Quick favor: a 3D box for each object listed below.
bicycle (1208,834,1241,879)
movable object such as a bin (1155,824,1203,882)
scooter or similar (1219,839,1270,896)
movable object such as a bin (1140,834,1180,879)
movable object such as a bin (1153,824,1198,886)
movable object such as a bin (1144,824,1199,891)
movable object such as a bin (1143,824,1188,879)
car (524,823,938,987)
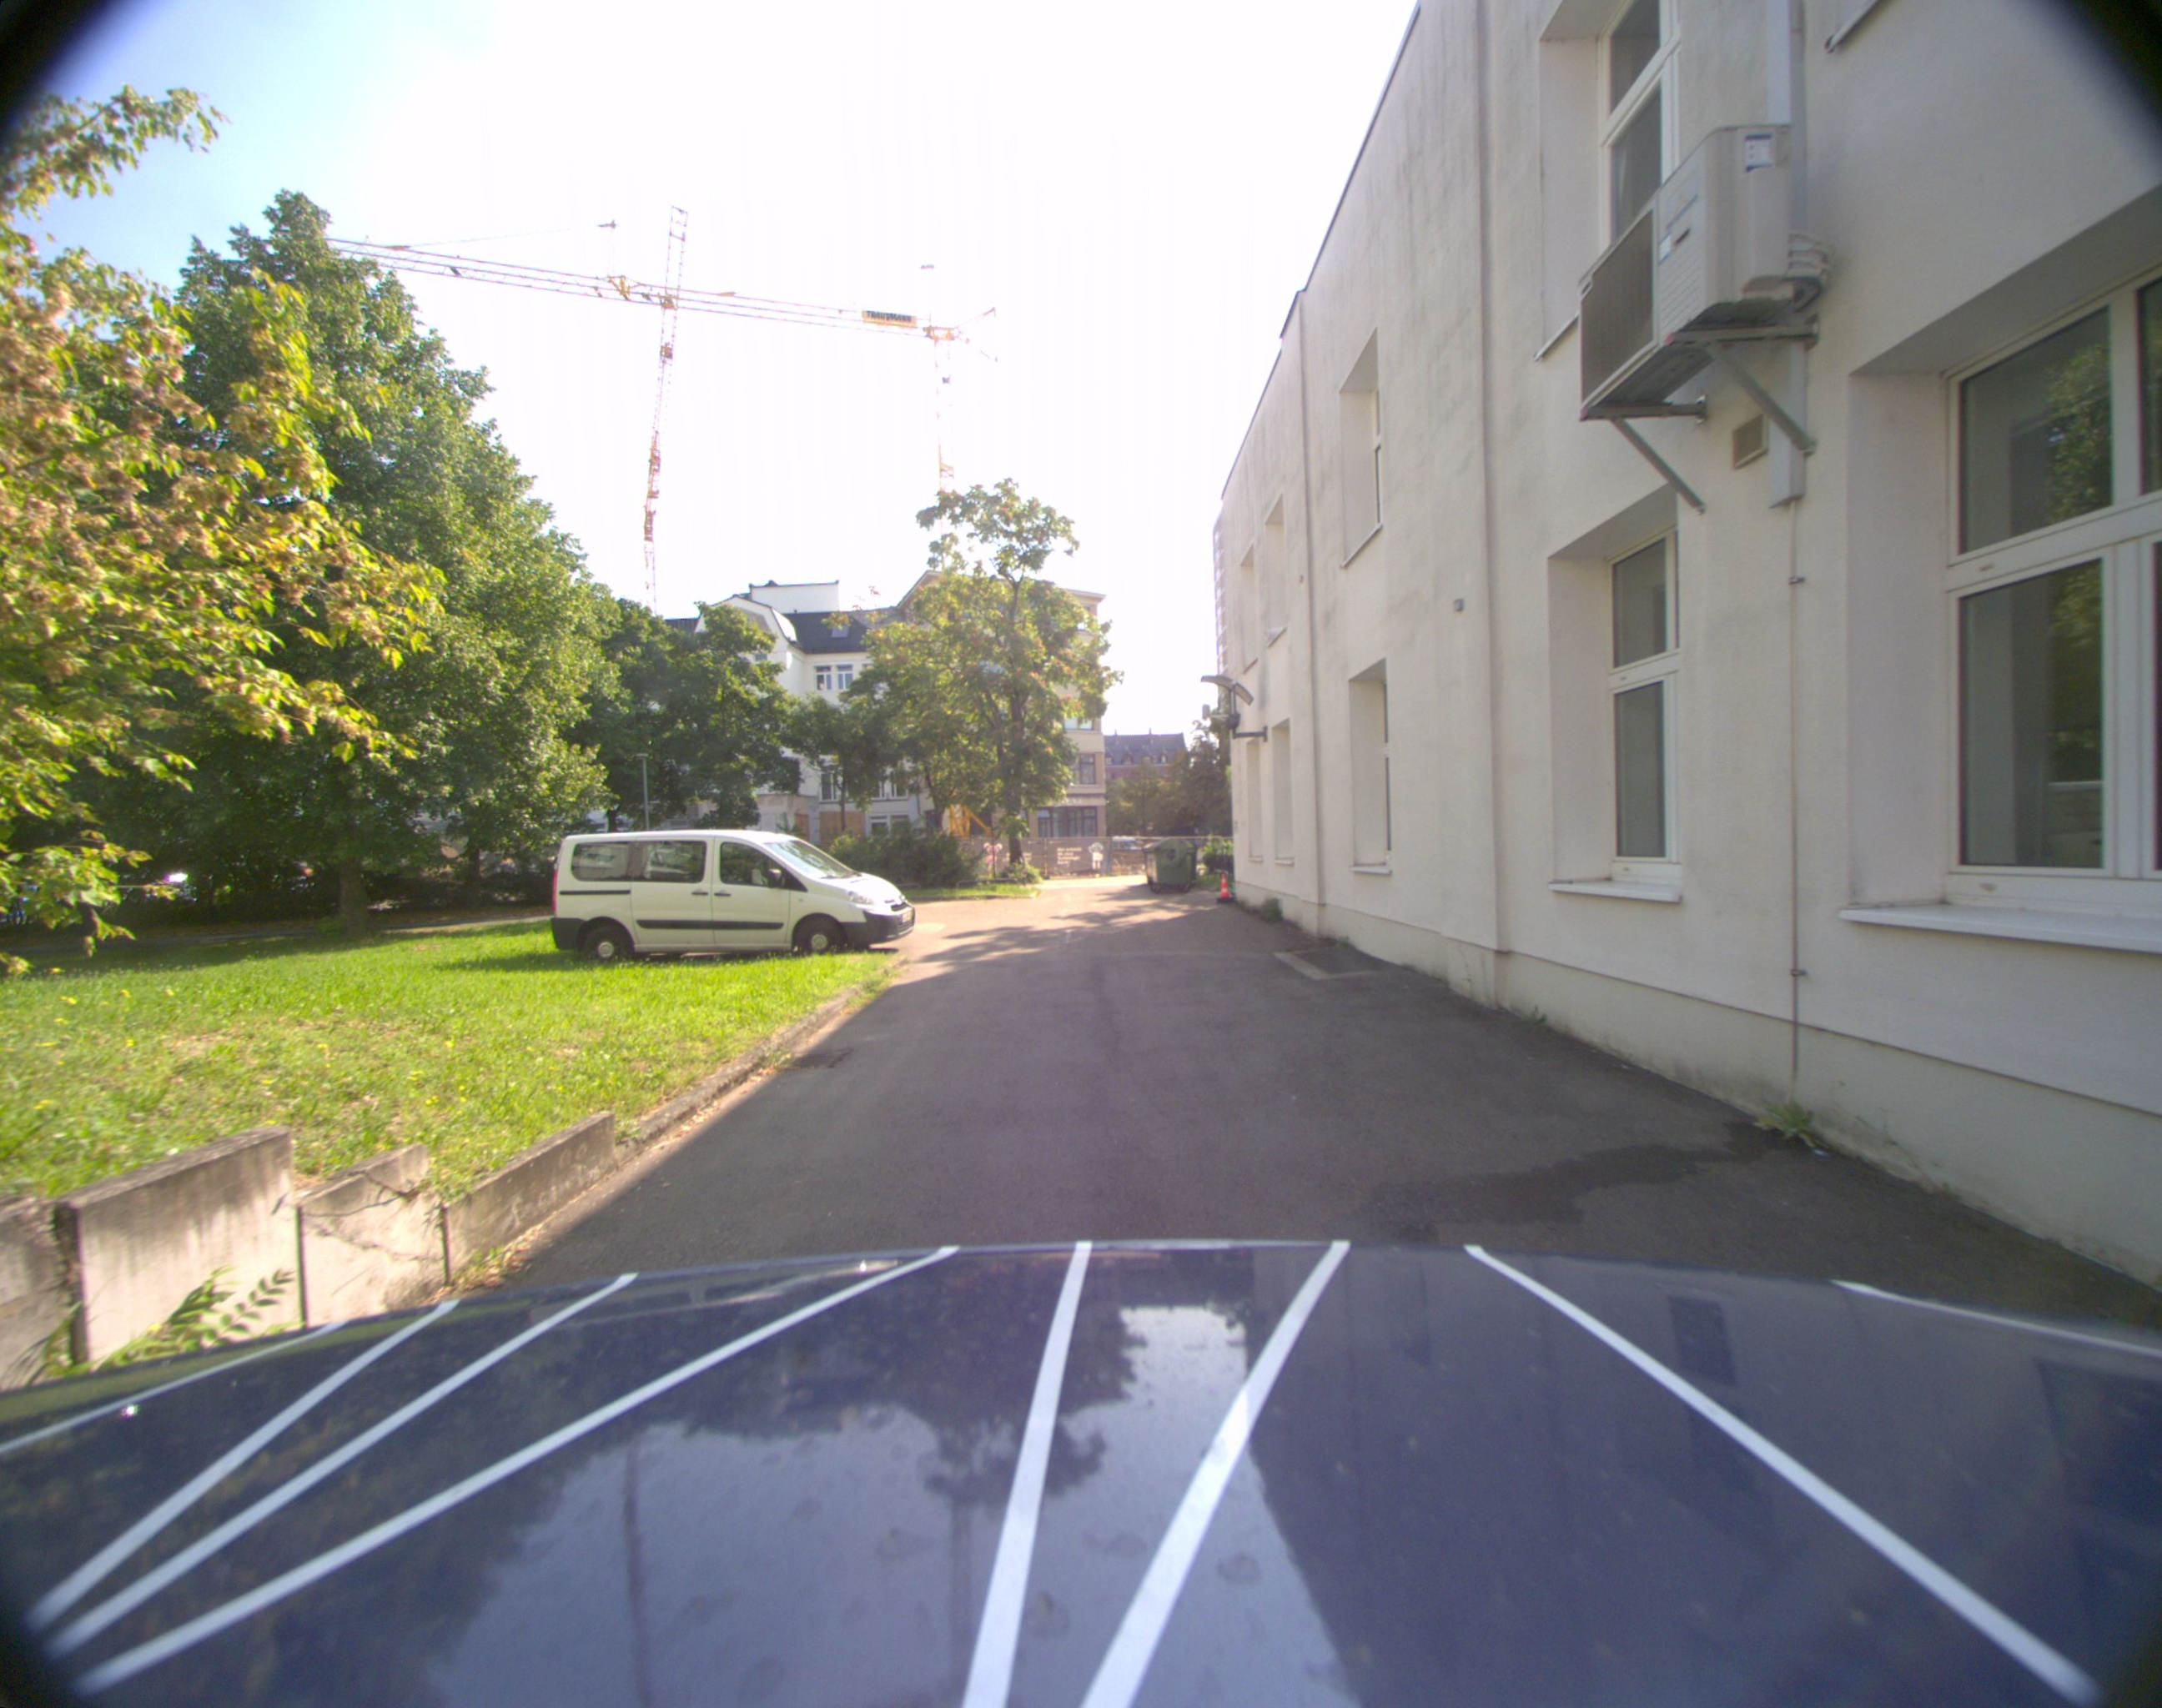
[{"bbox_3d":[4.120,0.054,21.971,0.477,1.206,2.007,-3,2,-1],"label":"bicycle"},{"bbox_3d":[3.035,-0.061,23.657,1.184,1.696,1.376,-3,2,-4],"label":"movable object such as a bin"},{"bbox_3d":[3.784,0.280,17.713,0.386,1.255,1.493,-4,2,-19],"label":"scooter or similar"},{"bbox_3d":[2.738,0.081,26.461,1.037,1.489,1.106,-3,2,-11],"label":"movable object such as a bin"},{"bbox_3d":[2.746,0.001,22.252,1.183,1.696,1.395,-3,2,4],"label":"movable object such as a bin"},{"bbox_3d":[2.420,0.077,20.455,1.184,1.696,1.376,-3,2,-4],"label":"movable object such as a bin"},{"bbox_3d":[2.775,-0.094,25.055,1.184,1.696,1.376,-3,2,-4],"label":"movable object such as a bin"},{"bbox_3d":[-4.852,0.649,11.106,4.969,1.910,2.043,-3,2,2],"label":"car"}]
